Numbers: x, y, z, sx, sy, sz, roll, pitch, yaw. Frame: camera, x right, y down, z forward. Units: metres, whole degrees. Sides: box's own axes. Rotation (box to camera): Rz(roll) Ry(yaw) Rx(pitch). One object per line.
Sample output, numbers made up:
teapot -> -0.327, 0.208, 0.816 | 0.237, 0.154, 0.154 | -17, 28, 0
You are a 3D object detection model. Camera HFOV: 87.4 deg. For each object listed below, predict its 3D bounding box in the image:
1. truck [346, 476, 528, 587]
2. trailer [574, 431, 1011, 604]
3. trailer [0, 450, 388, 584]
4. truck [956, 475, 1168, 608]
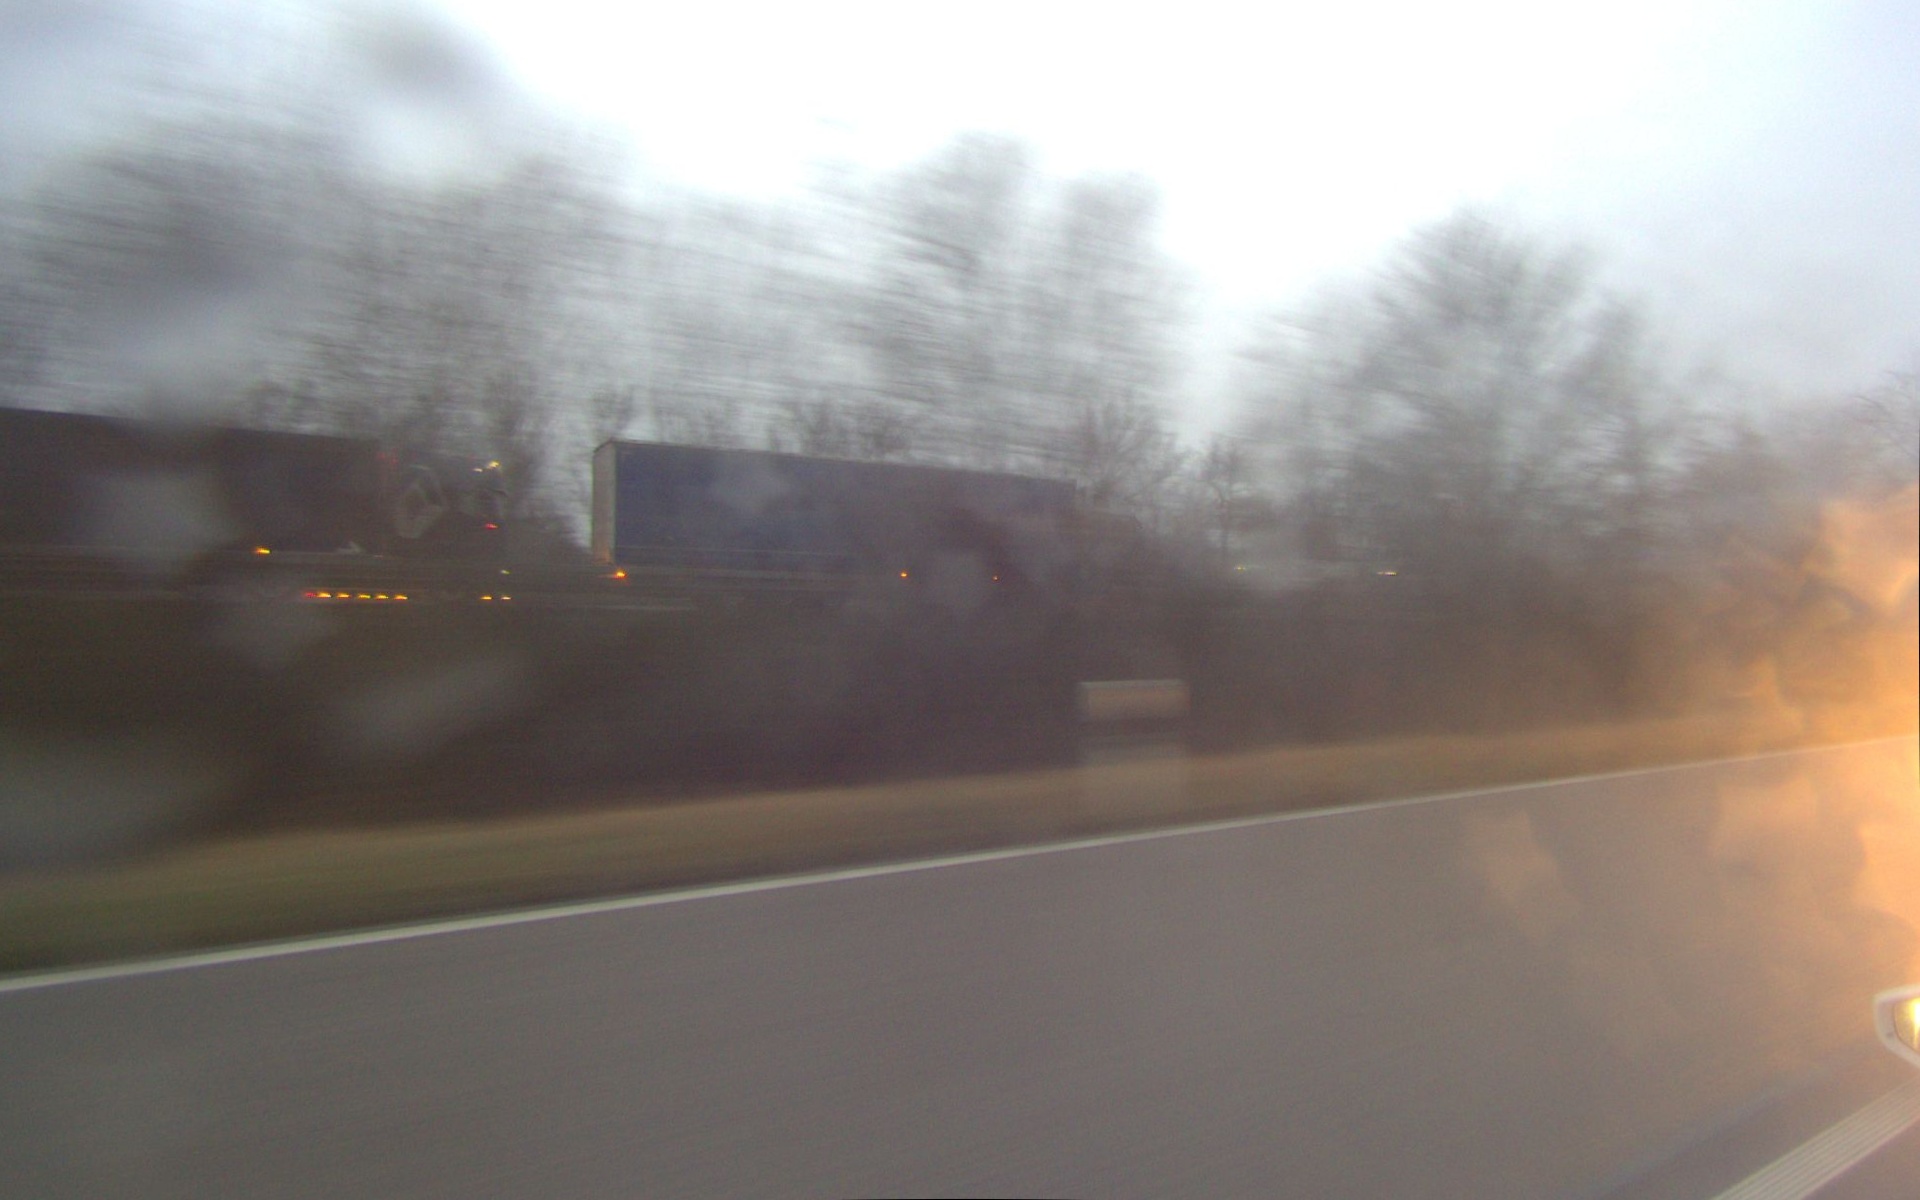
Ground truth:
truck -> -13.434, -1.652, 25.911 | 3.953, 2.468, 2.518 | 1, -2, -30
trailer -> -4.143, -1.852, 26.992 | 11.256, 3.682, 2.983 | 2, -1, -31
trailer -> -19.327, -1.808, 22.384 | 11.367, 2.456, 2.497 | 2, -2, -30
truck -> 3.230, -1.638, 31.427 | 5.997, 3.680, 2.977 | 1, -1, -31
